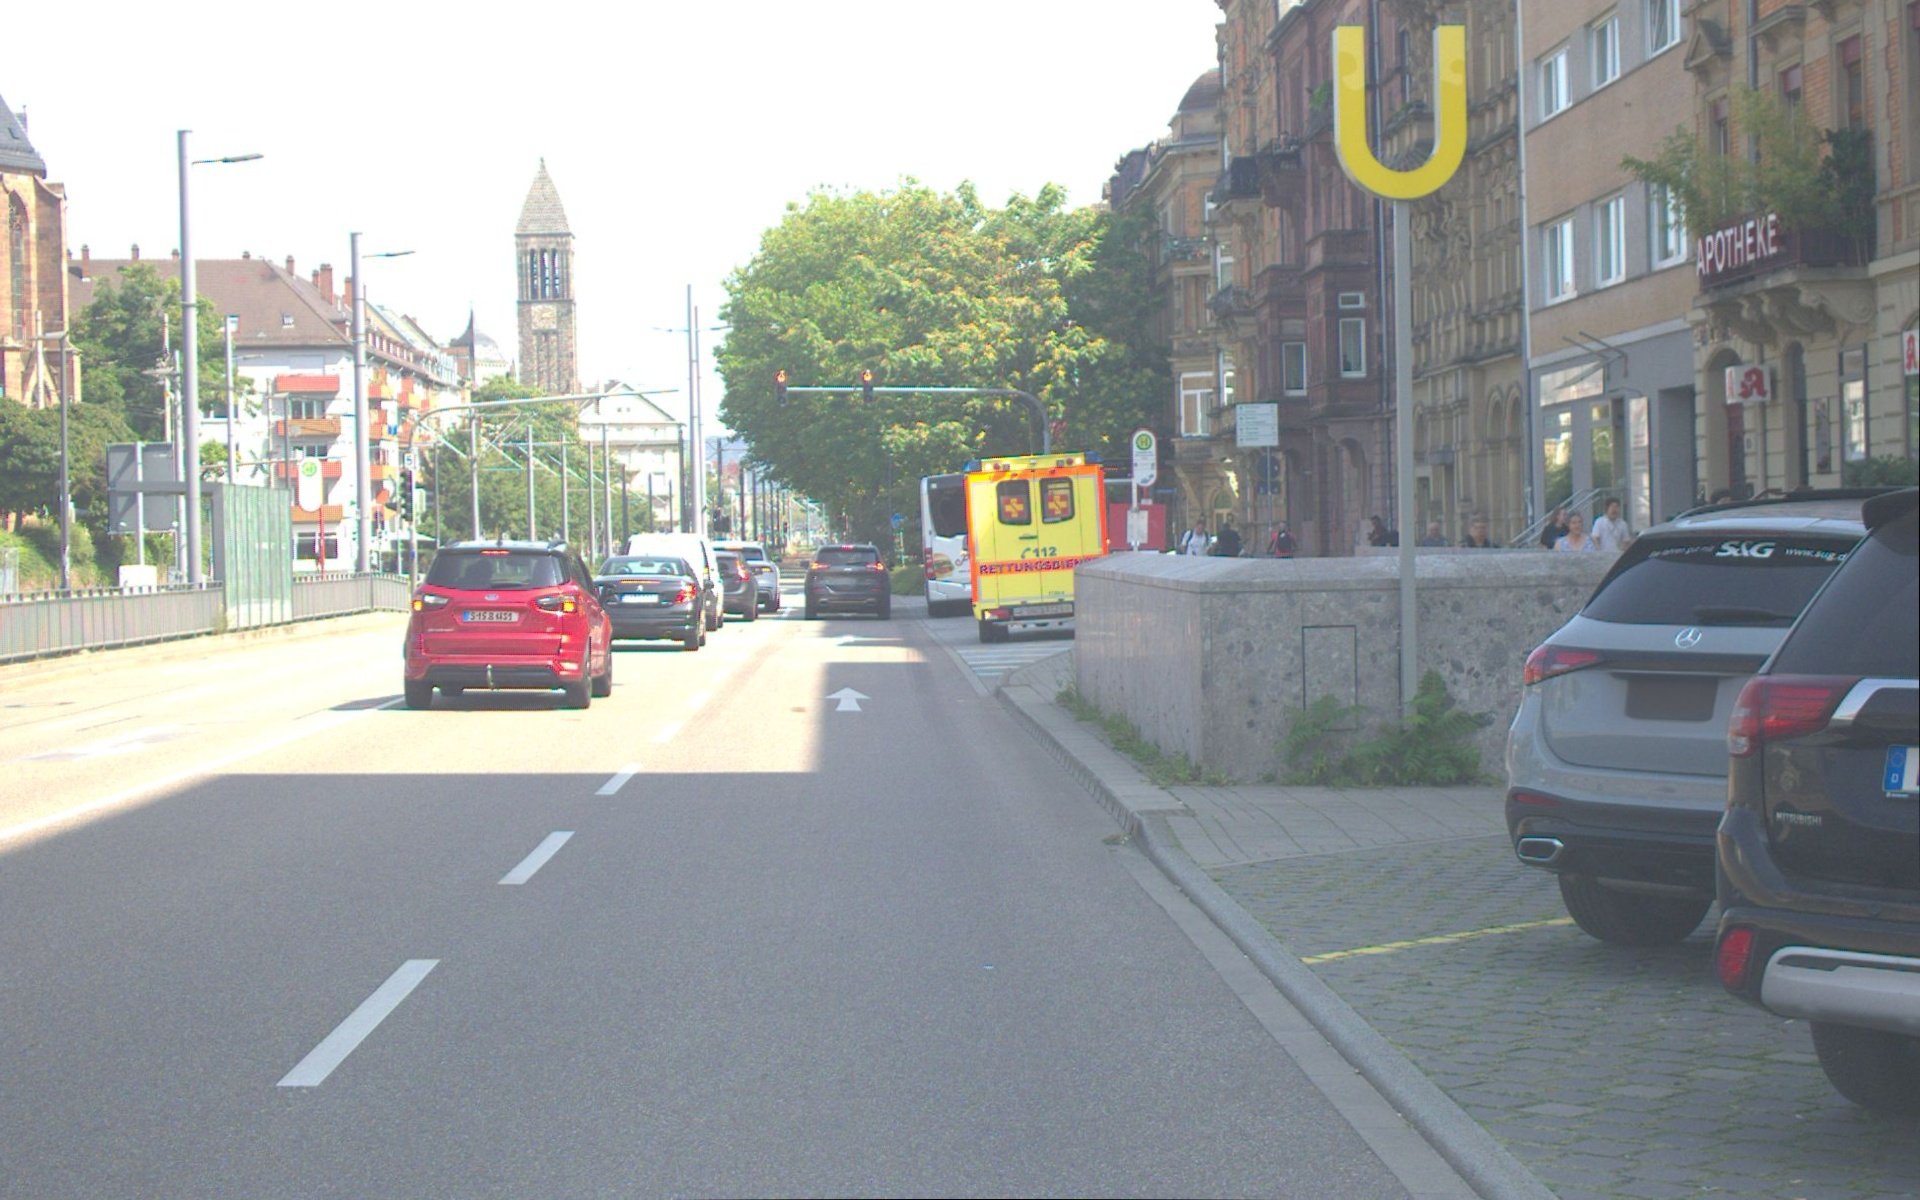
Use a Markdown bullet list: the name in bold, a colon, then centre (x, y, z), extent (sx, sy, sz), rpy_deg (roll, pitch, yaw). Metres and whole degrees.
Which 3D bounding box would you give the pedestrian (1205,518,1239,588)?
- **pedestrian**: centre (6.295, -1.136, 82.601), extent (0.697, 1.661, 1.064), rpy_deg (-1, 1, 0)

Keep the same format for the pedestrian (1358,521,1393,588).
- **pedestrian**: centre (9.859, -1.080, 81.620), extent (0.622, 1.587, 0.696), rpy_deg (-2, 1, -7)

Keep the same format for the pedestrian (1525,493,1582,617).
- **pedestrian**: centre (8.539, -0.646, 49.481), extent (0.577, 1.744, 0.679), rpy_deg (-4, 1, -2)

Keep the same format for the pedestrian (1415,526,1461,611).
- **pedestrian**: centre (8.421, -0.558, 60.618), extent (0.643, 1.488, 0.789), rpy_deg (-1, 1, -2)

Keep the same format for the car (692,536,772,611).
- **car**: centre (-5.335, -0.623, 80.772), extent (1.790, 1.692, 4.000), rpy_deg (-1, 0, -3)

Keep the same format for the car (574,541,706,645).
- **car**: centre (-4.709, -0.139, 51.000), extent (1.790, 1.426, 4.001), rpy_deg (-1, 1, -3)

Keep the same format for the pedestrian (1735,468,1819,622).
- **pedestrian**: centre (9.536, -0.651, 40.174), extent (0.684, 1.768, 1.018), rpy_deg (-1, 2, -2)

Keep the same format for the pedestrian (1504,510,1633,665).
- **pedestrian**: centre (6.315, -0.130, 35.680), extent (0.850, 1.576, 0.971), rpy_deg (-2, 1, -35)

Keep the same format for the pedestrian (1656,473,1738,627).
- **pedestrian**: centre (8.639, -0.598, 40.344), extent (0.684, 1.768, 1.018), rpy_deg (-1, 2, -2)

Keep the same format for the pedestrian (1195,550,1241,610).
- **pedestrian**: centre (7.901, -0.614, 105.331), extent (1.249, 1.745, 1.526), rpy_deg (-1, 3, -1)

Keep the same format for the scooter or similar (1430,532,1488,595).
- **scooter or similar**: centre (9.723, -0.710, 67.038), extent (0.512, 1.192, 1.304), rpy_deg (-2, 1, -21)

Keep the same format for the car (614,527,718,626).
- **car**: centre (-5.511, -0.434, 64.737), extent (1.790, 1.774, 4.000), rpy_deg (-1, 0, -3)

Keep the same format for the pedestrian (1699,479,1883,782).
- **pedestrian**: centre (5.003, 0.160, 20.681), extent (0.867, 1.745, 0.871), rpy_deg (3, 3, 24)

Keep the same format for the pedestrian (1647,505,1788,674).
- **pedestrian**: centre (7.251, -0.105, 32.918), extent (0.850, 1.576, 0.971), rpy_deg (-2, 1, -35)

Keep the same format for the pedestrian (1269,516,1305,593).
- **pedestrian**: centre (7.174, -0.996, 75.402), extent (0.697, 1.661, 0.603), rpy_deg (-1, 1, 0)

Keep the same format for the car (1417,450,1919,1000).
- **car**: centre (4.018, 0.315, 12.965), extent (4.653, 1.708, 2.043), rpy_deg (-3, 2, -43)

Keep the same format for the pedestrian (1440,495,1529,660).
- **pedestrian**: centre (5.737, -0.257, 37.646), extent (0.850, 1.723, 0.971), rpy_deg (-2, 3, 5)

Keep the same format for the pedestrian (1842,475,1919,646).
- **pedestrian**: centre (10.289, -0.444, 37.817), extent (0.841, 1.839, 0.686), rpy_deg (-3, 1, -11)

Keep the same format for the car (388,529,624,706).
- **car**: centre (-4.437, 0.123, 34.131), extent (1.762, 1.612, 4.083), rpy_deg (-1, 1, 0)

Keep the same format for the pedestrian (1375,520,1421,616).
- **pedestrian**: centre (7.713, -0.566, 60.569), extent (0.643, 1.679, 0.789), rpy_deg (-1, 1, -2)

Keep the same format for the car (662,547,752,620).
- **car**: centre (-5.326, -0.350, 72.623), extent (1.790, 1.467, 4.000), rpy_deg (-1, 0, -3)

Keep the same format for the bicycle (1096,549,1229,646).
- **bicycle**: centre (2.586, -0.036, 43.955), extent (1.674, 1.211, 0.644), rpy_deg (-1, 1, 4)

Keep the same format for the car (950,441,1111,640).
- **car**: centre (1.146, -0.961, 54.135), extent (2.299, 2.878, 5.599), rpy_deg (-2, 1, 2)

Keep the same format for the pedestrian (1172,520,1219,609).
- **pedestrian**: centre (4.443, -0.664, 64.738), extent (0.697, 1.661, 0.602), rpy_deg (-1, 1, 24)

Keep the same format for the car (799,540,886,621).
- **car**: centre (-2.568, -0.427, 74.403), extent (1.790, 1.672, 4.000), rpy_deg (-1, 0, -3)

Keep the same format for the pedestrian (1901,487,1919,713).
- **pedestrian**: centre (7.458, -0.005, 25.422), extent (0.670, 1.679, 0.943), rpy_deg (-2, 1, -2)

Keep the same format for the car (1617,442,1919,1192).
- **car**: centre (3.867, 0.418, 9.050), extent (4.381, 1.681, 1.985), rpy_deg (-2, 2, -43)

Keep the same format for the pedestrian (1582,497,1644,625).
- **pedestrian**: centre (9.403, -0.562, 49.546), extent (0.599, 1.789, 0.880), rpy_deg (-4, 1, -2)

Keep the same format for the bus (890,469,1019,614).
- **bus**: centre (-0.247, -1.341, 78.807), extent (2.533, 3.021, 12.437), rpy_deg (-1, 1, -2)
